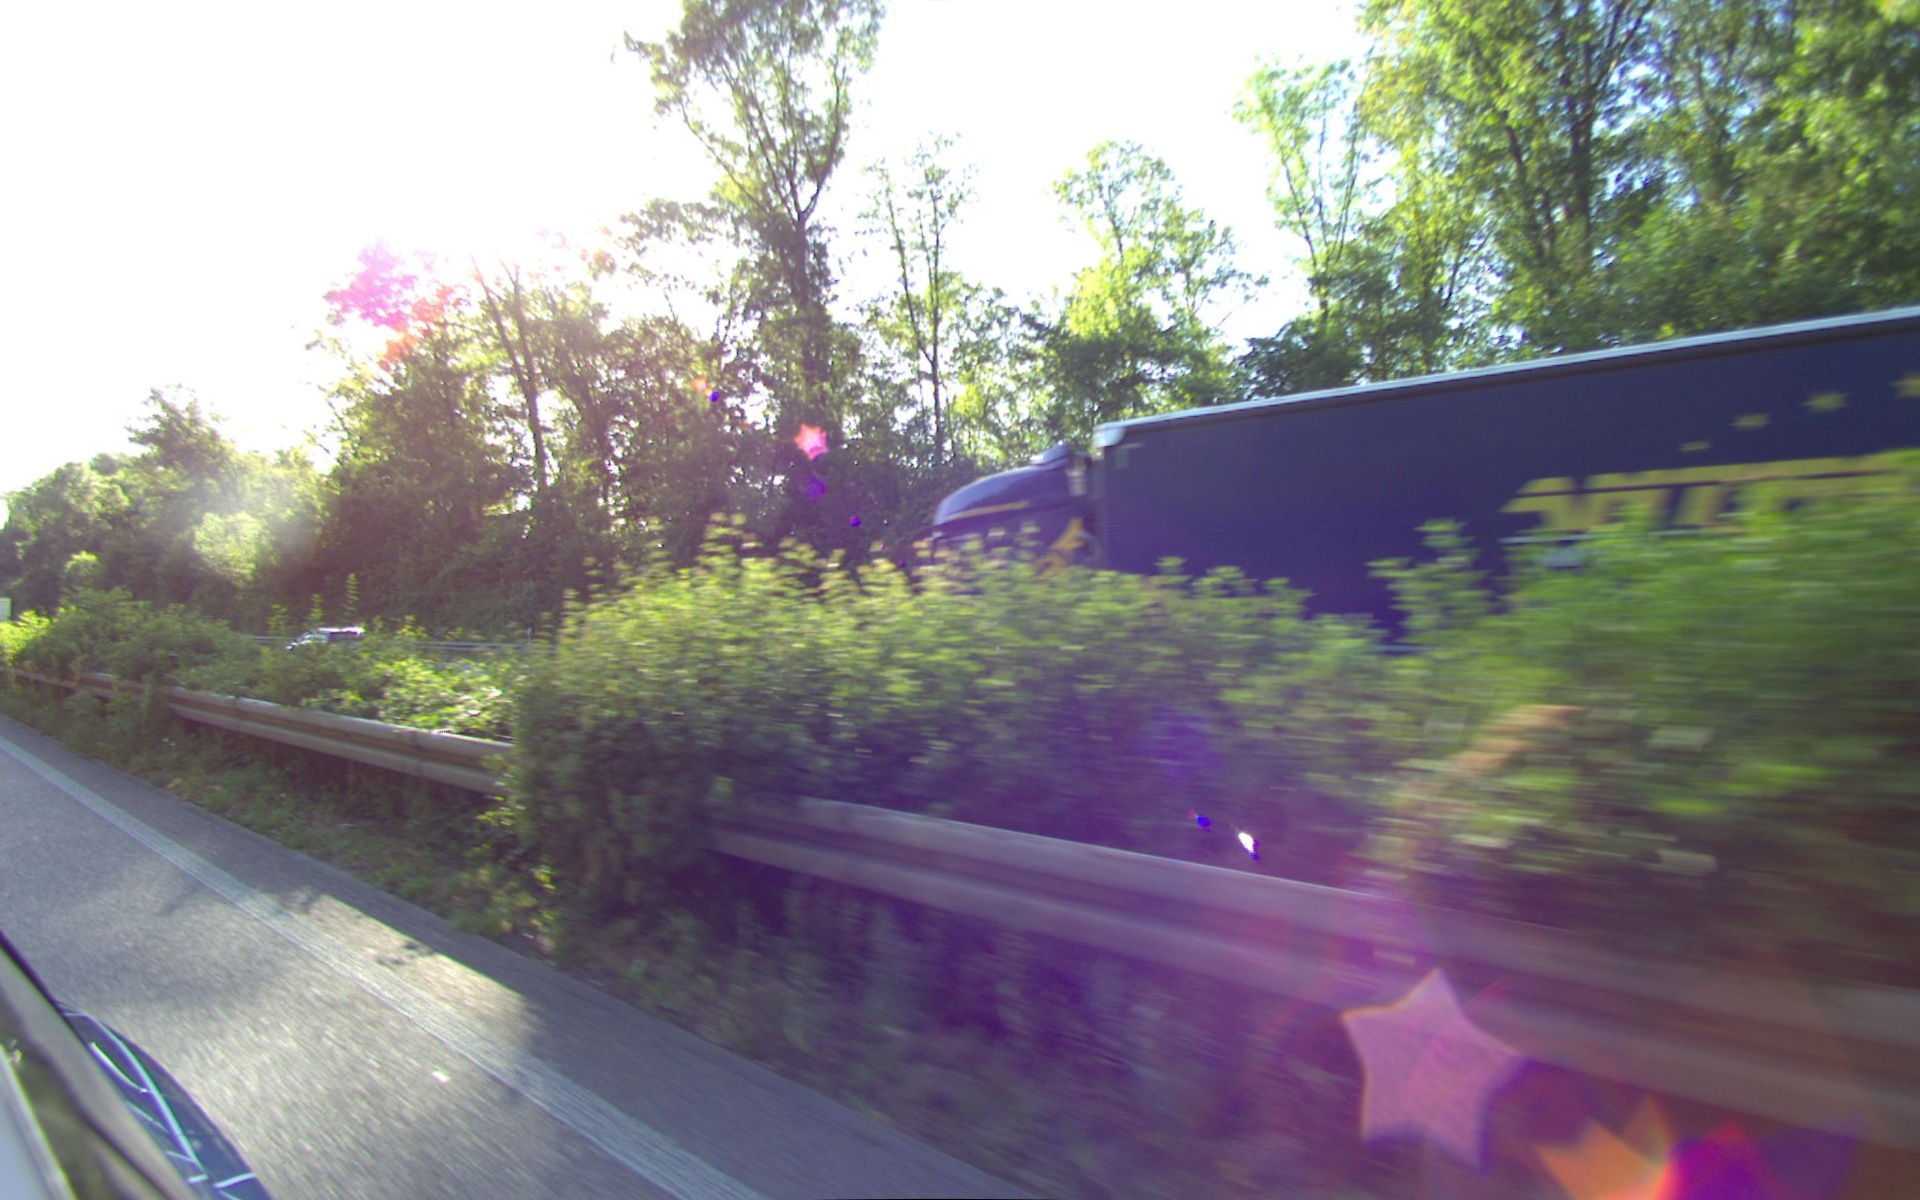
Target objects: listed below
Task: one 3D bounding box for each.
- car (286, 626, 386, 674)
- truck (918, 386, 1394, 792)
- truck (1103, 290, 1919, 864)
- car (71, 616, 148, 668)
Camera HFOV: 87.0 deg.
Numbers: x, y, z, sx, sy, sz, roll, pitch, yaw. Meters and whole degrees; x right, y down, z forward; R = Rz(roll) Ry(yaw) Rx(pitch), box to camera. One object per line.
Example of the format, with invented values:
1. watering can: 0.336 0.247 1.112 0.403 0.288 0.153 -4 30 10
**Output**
1. car: -21.170 1.632 34.277 4.268 1.469 1.760 -1 0 42
2. truck: 2.357 -0.089 13.115 5.434 4.127 2.688 -1 -1 41
3. truck: 7.823 -0.172 8.254 14.015 4.127 2.679 -1 -1 41
4. car: -32.780 1.554 38.958 3.999 1.862 1.760 -1 -1 42
